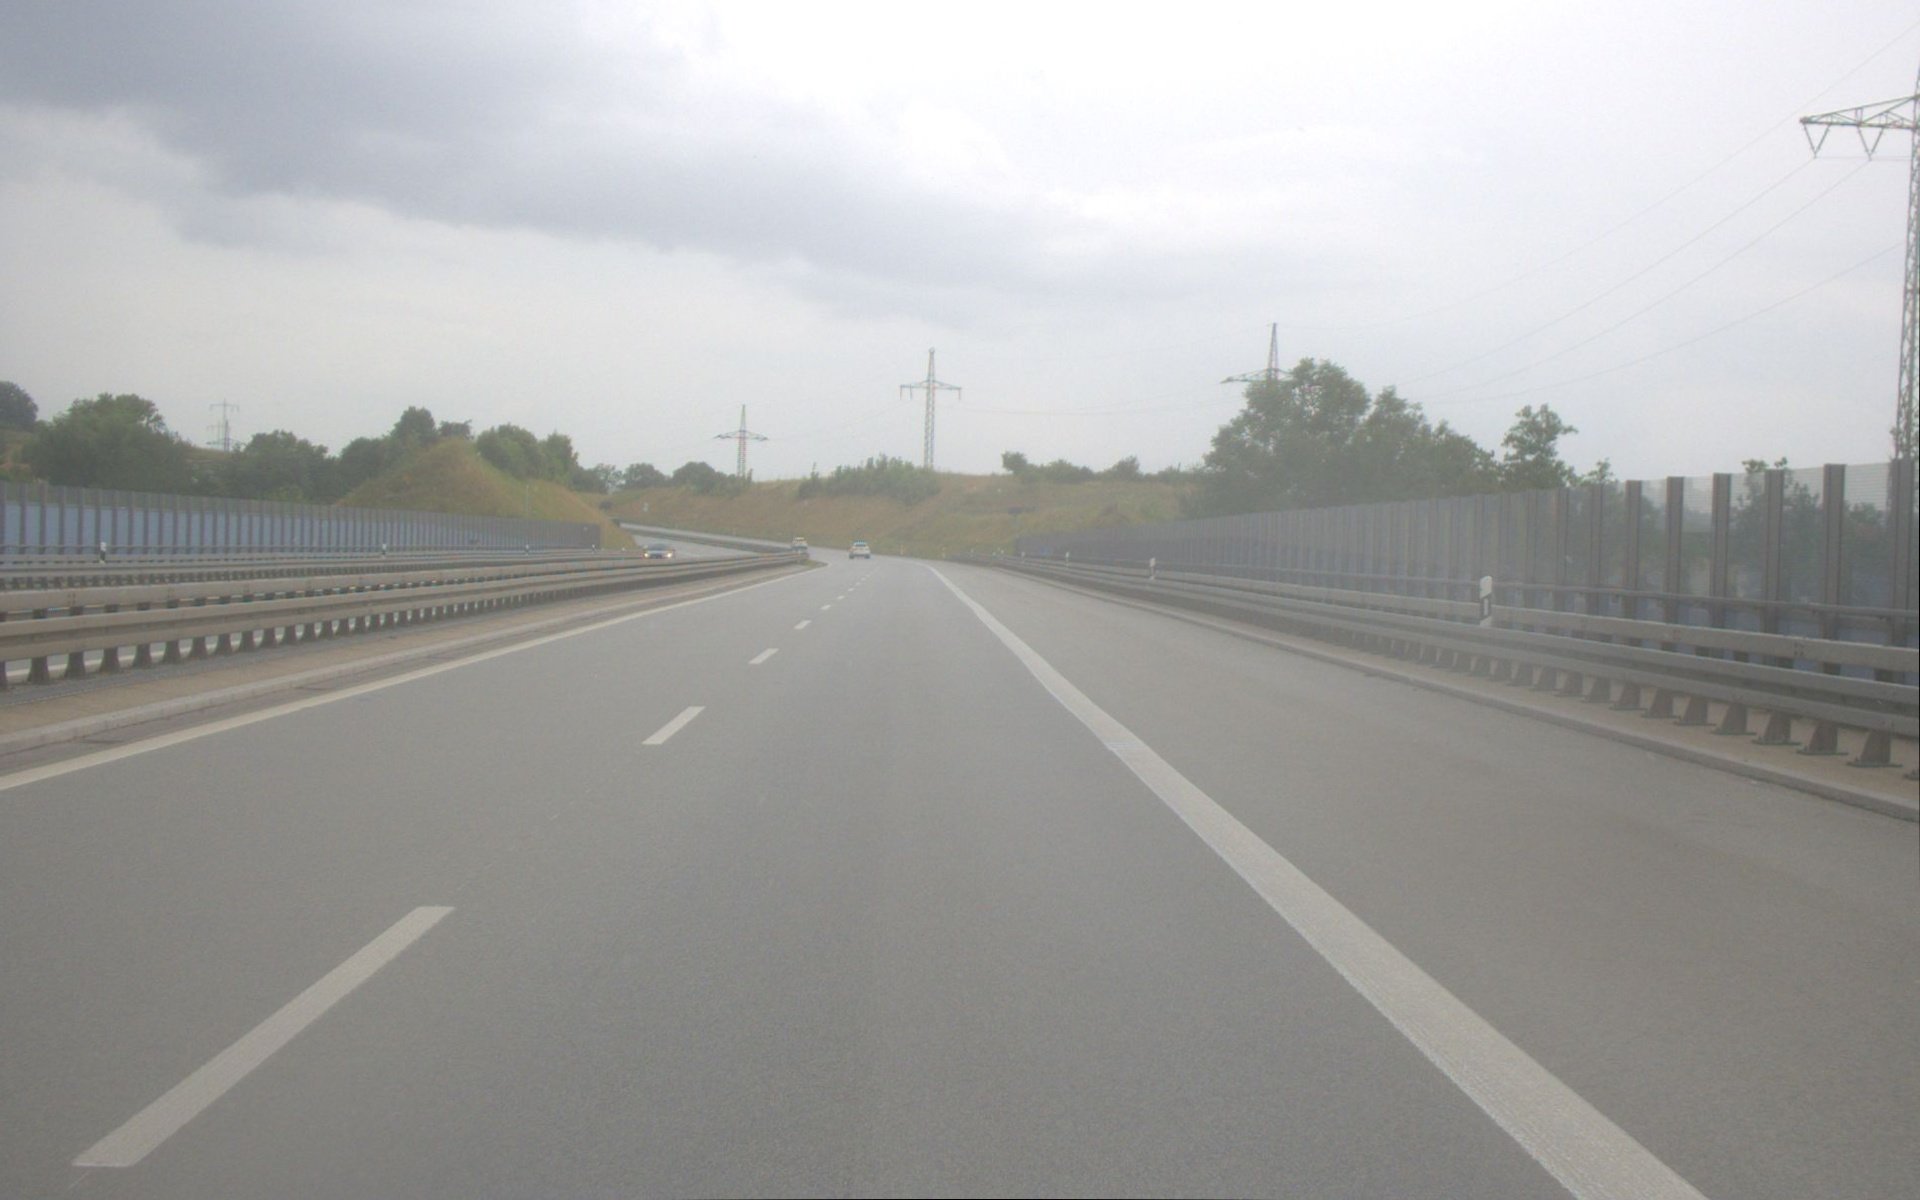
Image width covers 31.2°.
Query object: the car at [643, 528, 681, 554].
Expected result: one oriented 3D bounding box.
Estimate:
[{"bbox_3d":[-17.847,-3.532,206.022,1.993,1.510,4.288,1,1,-1],"label":"car"}]
